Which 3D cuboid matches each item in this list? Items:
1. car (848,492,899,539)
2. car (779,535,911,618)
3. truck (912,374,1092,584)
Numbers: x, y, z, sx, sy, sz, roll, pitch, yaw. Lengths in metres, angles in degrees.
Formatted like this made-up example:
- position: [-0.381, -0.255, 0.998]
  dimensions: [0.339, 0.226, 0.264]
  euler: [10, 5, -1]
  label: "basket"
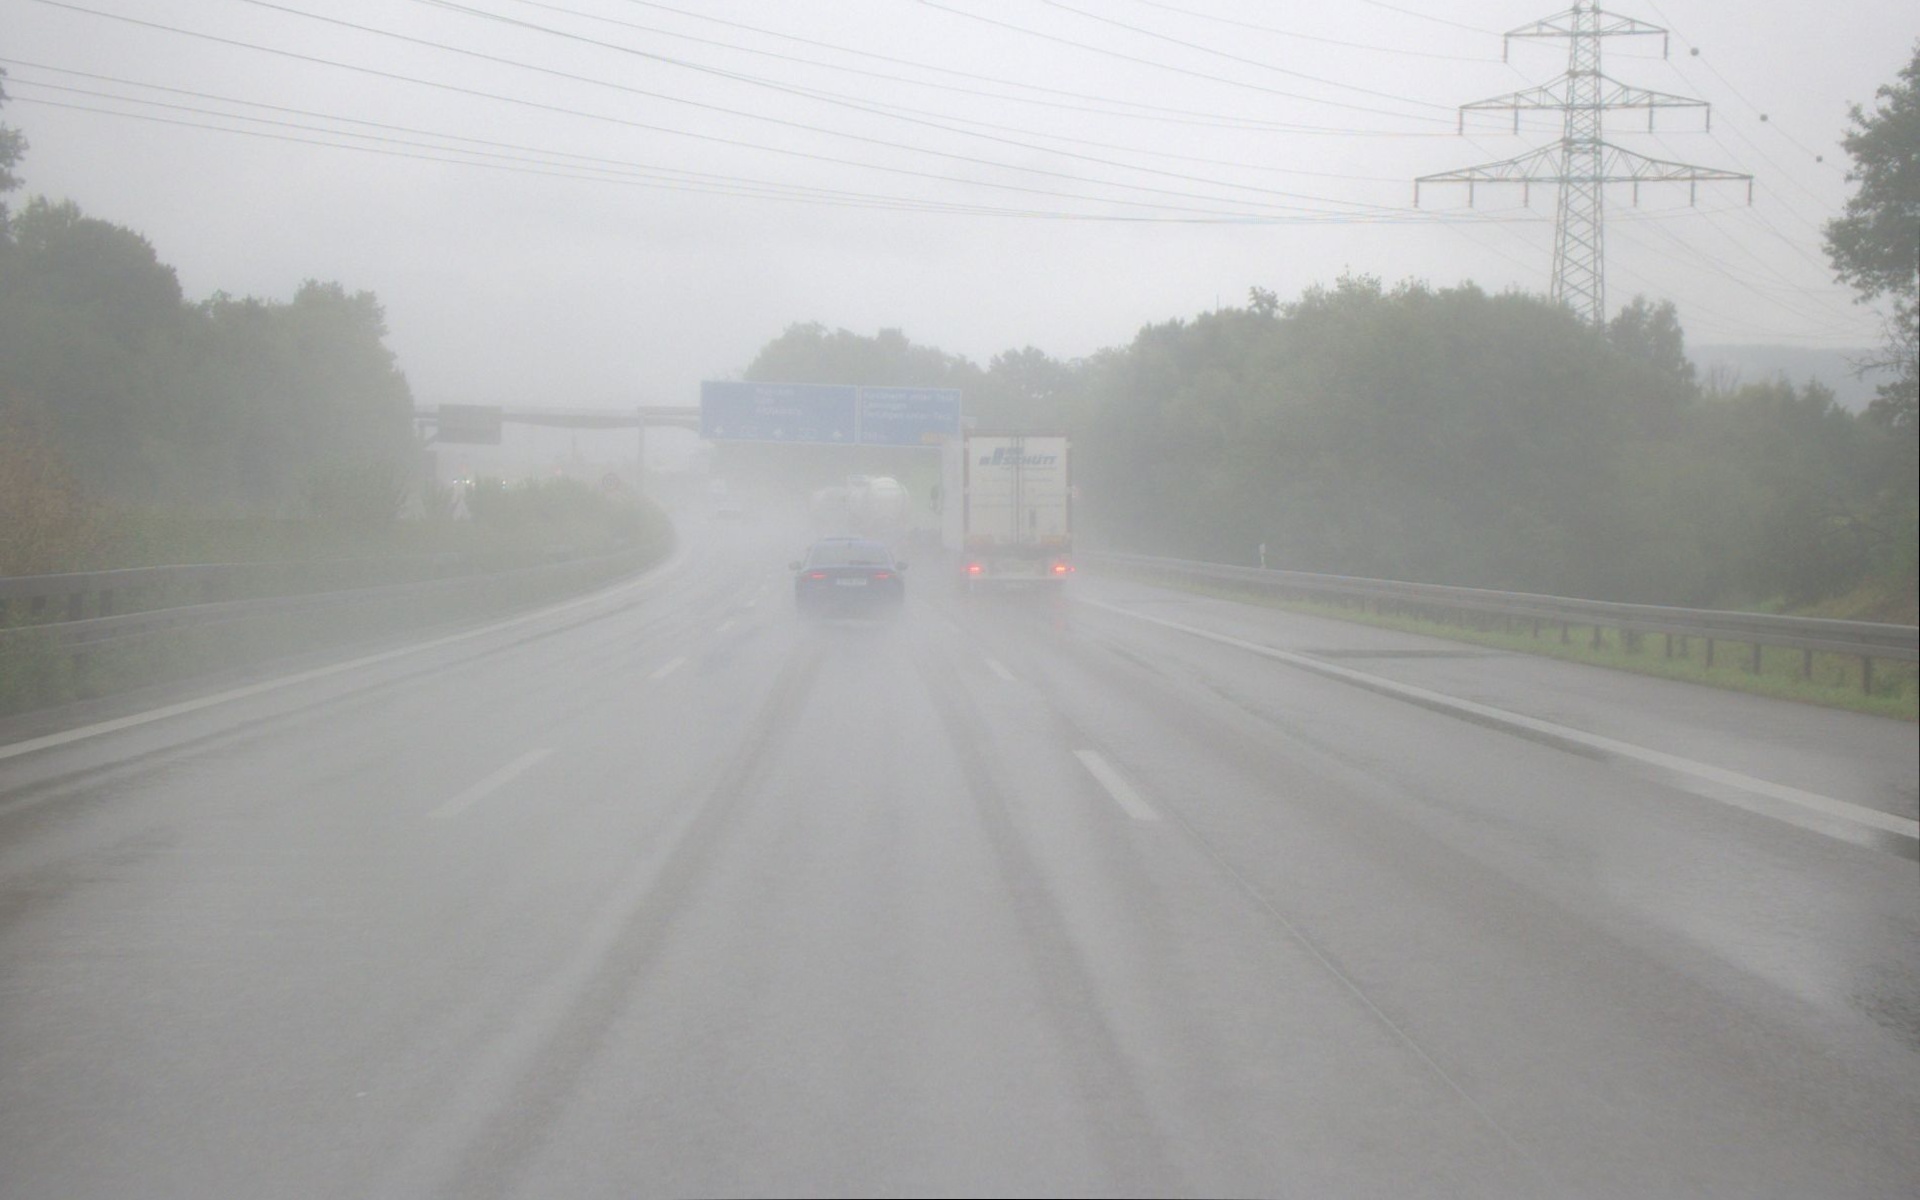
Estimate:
- position: [-4.344, -4.260, 173.020]
  dimensions: [2.393, 2.264, 5.003]
  euler: [2, 2, -1]
  label: "car"
- position: [-1.849, -0.409, 56.378]
  dimensions: [1.749, 1.208, 4.000]
  euler: [3, 1, 3]
  label: "car"
- position: [1.229, -3.068, 90.471]
  dimensions: [4.257, 4.955, 17.341]
  euler: [0, 1, 1]
  label: "truck"
